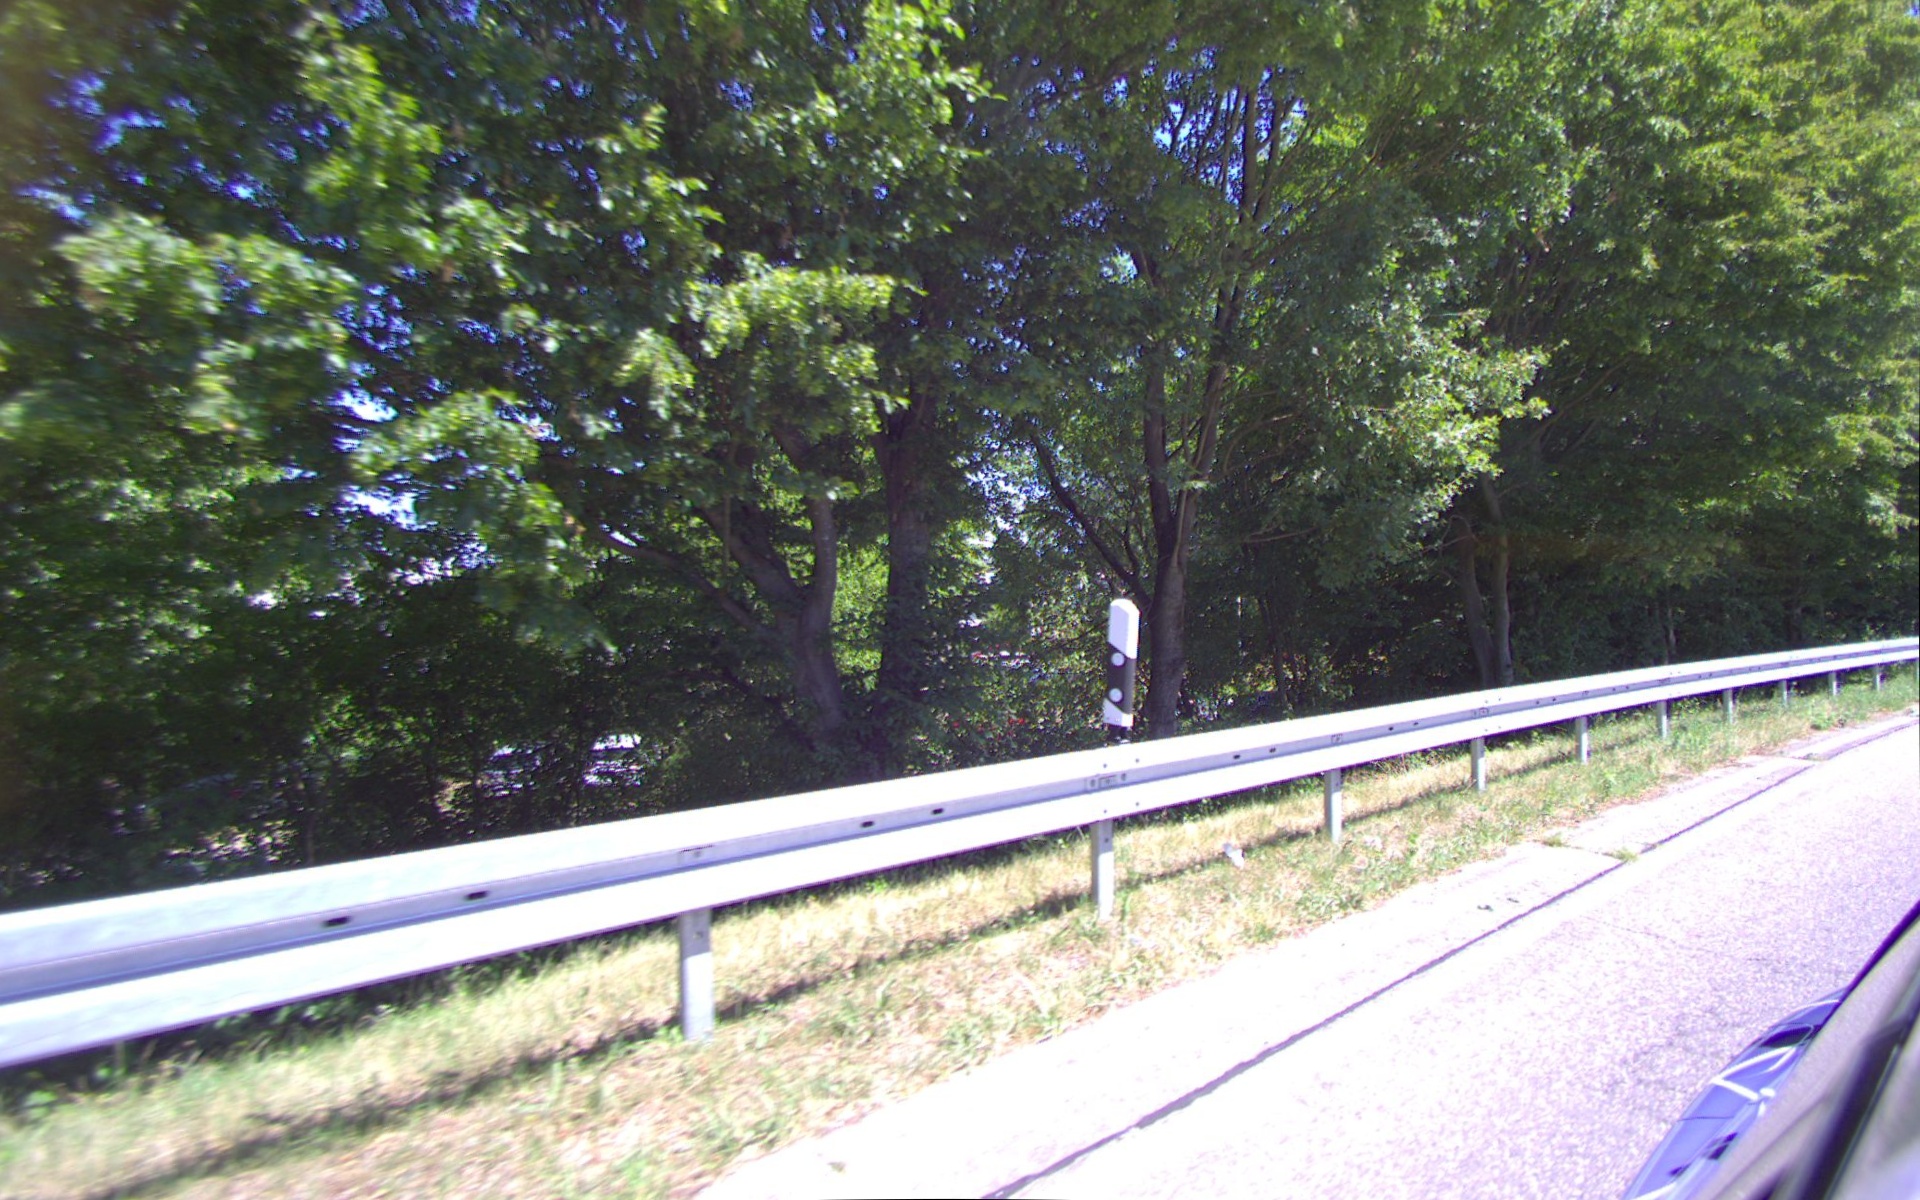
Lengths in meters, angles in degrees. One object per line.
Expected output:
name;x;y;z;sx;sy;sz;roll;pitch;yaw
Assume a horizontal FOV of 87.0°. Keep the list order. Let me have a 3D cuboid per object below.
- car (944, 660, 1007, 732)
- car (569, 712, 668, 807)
car;0.465;3.215;34.642;1.962;2.039;4.000;-1;0;-1
car;-9.185;4.236;27.531;1.959;1.872;4.006;-1;0;-10
